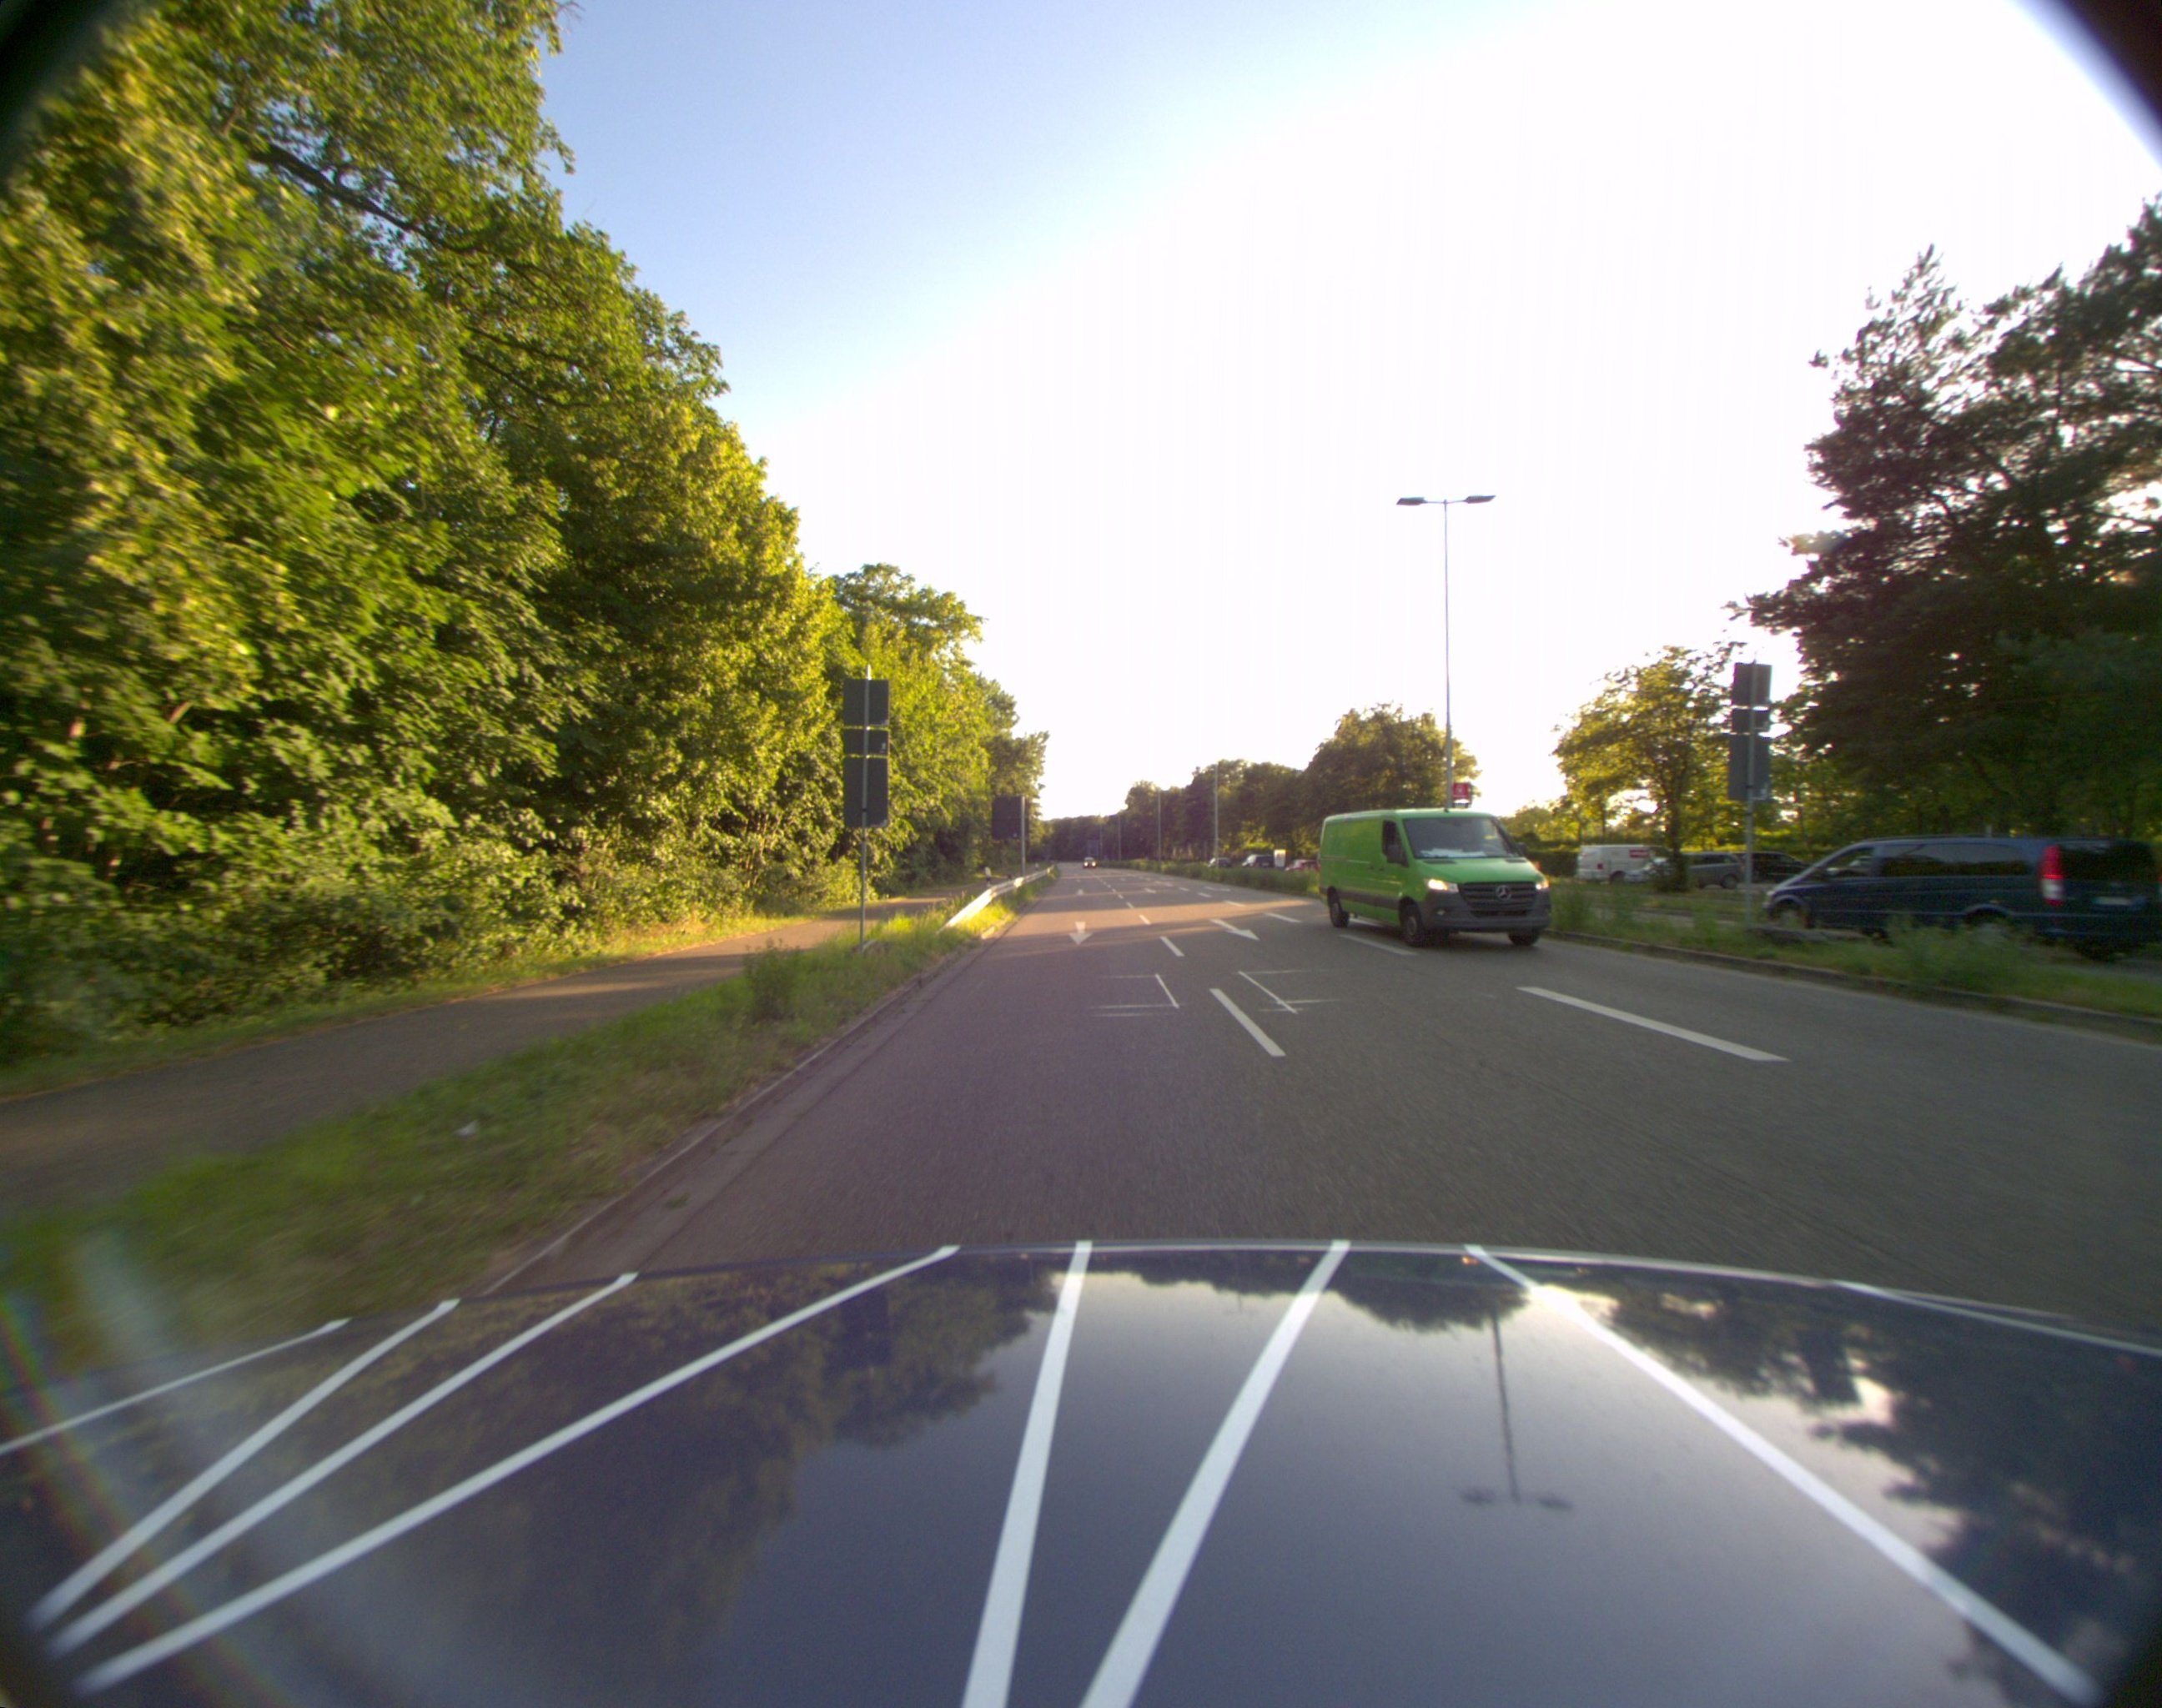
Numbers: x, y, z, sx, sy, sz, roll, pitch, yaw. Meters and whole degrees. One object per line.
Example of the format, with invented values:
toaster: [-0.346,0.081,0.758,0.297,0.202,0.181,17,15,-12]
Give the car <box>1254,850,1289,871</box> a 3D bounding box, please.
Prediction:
car: [15.044,0.500,60.196,1.760,1.532,3.999,-2,1,1]

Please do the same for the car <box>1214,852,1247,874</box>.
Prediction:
car: [11.549,0.650,58.863,1.760,1.532,3.999,-2,1,1]

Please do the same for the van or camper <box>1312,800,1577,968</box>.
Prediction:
van or camper: [6.140,0.439,13.906,1.999,2.407,5.895,0,0,0]

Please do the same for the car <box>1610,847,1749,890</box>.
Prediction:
car: [25.681,0.601,32.696,4.497,1.787,1.909,0,0,0]

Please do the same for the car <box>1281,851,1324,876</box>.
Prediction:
car: [15.244,0.613,52.502,1.760,1.532,3.999,-2,1,1]

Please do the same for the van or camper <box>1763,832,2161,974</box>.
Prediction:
van or camper: [14.677,0.698,12.988,1.998,2.002,4.578,0,0,1]

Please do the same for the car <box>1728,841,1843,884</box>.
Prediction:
car: [34.586,0.393,37.449,1.998,2.002,4.000,0,0,1]

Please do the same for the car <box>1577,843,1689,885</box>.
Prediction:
car: [25.877,0.477,35.733,3.997,1.932,1.766,0,0,0]

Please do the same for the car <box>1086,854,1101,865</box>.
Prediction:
car: [1.816,0.848,111.441,1.999,1.543,3.999,0,0,-3]
